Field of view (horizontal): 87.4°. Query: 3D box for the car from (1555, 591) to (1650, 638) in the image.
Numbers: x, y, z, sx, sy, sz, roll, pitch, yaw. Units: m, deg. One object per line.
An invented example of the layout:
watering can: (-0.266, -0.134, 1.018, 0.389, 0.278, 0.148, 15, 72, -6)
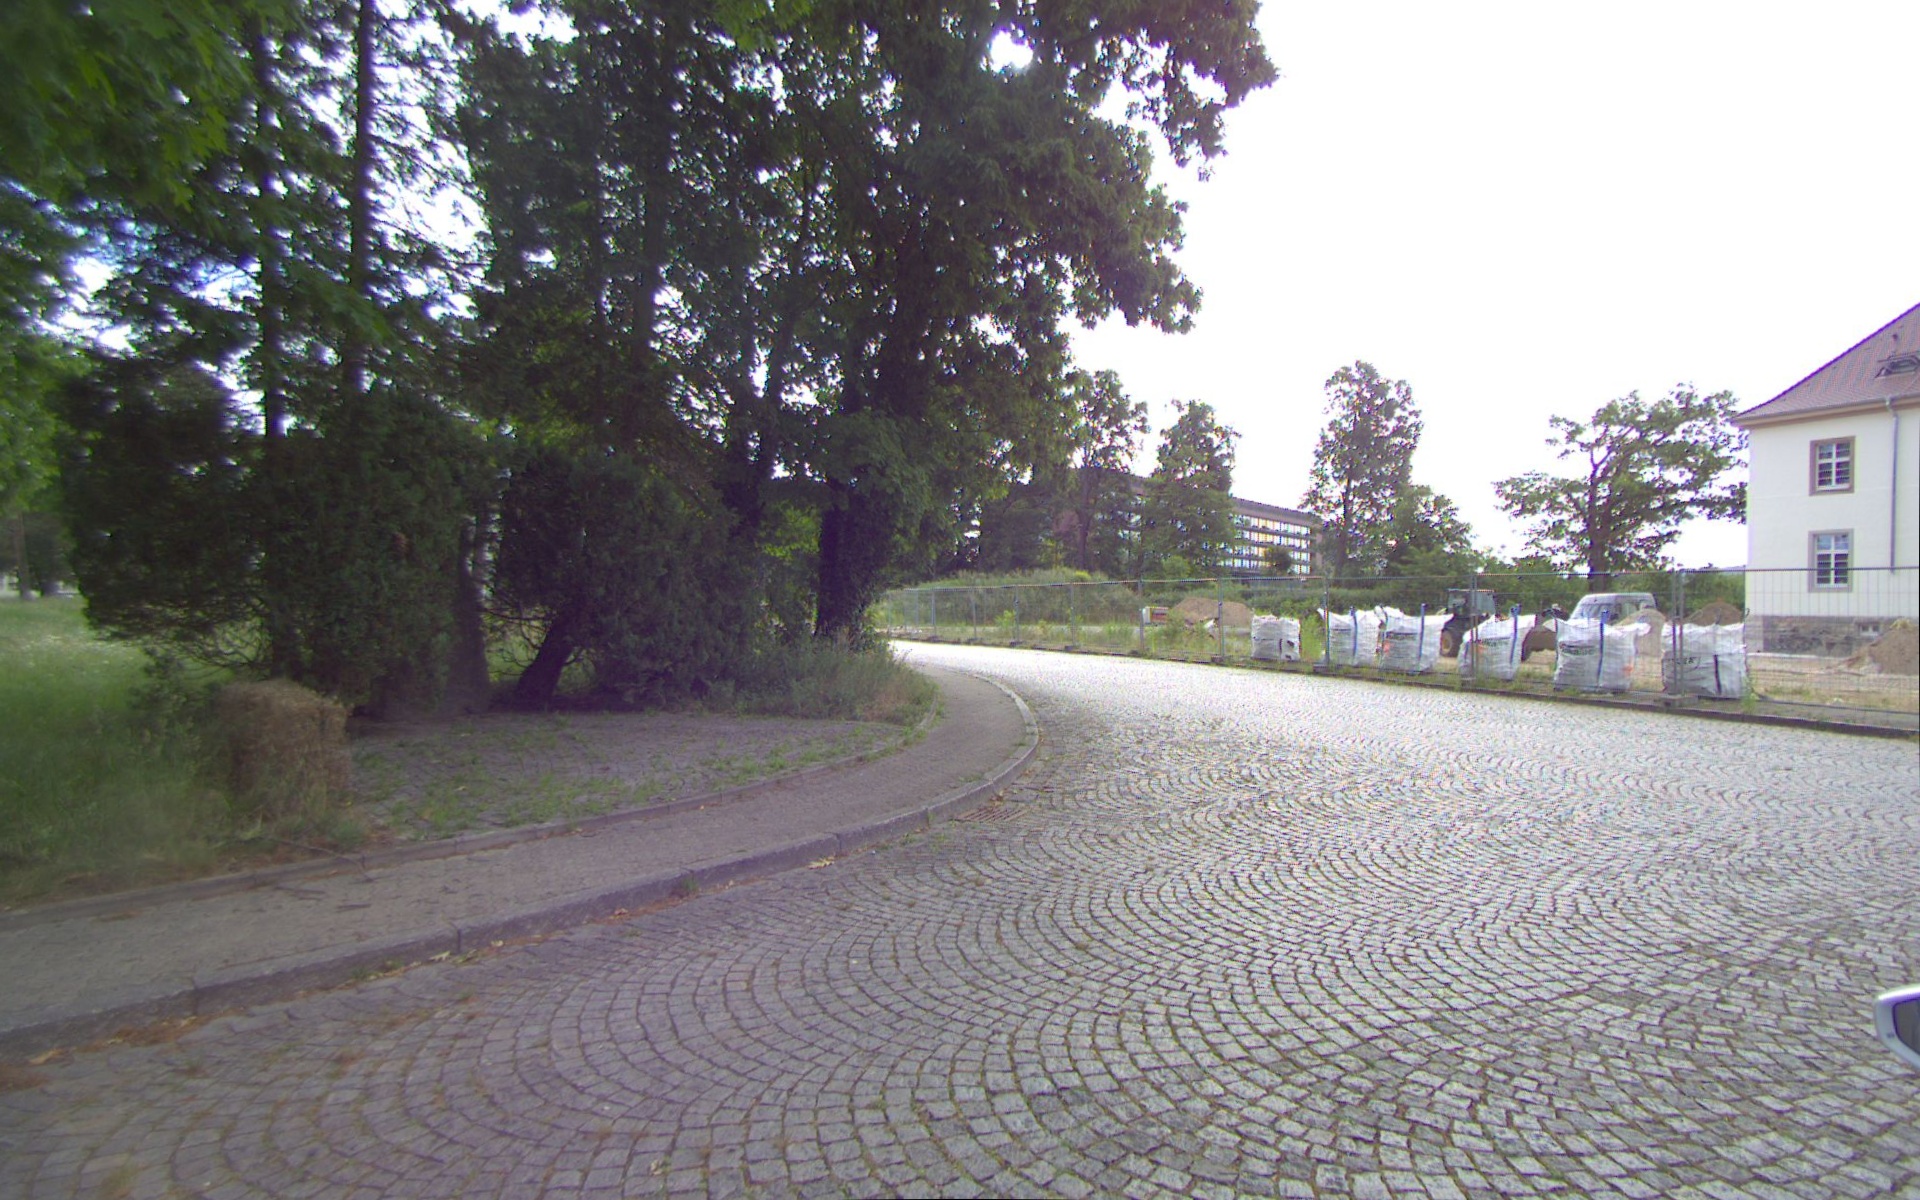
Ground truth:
car: (31.251, 0.701, 48.849, 4.845, 2.179, 2.056, 1, 0, -32)

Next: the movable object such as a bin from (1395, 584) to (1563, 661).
movable object such as a bin: (18.756, 0.774, 36.638, 1.974, 2.590, 5.310, 1, 0, -26)
